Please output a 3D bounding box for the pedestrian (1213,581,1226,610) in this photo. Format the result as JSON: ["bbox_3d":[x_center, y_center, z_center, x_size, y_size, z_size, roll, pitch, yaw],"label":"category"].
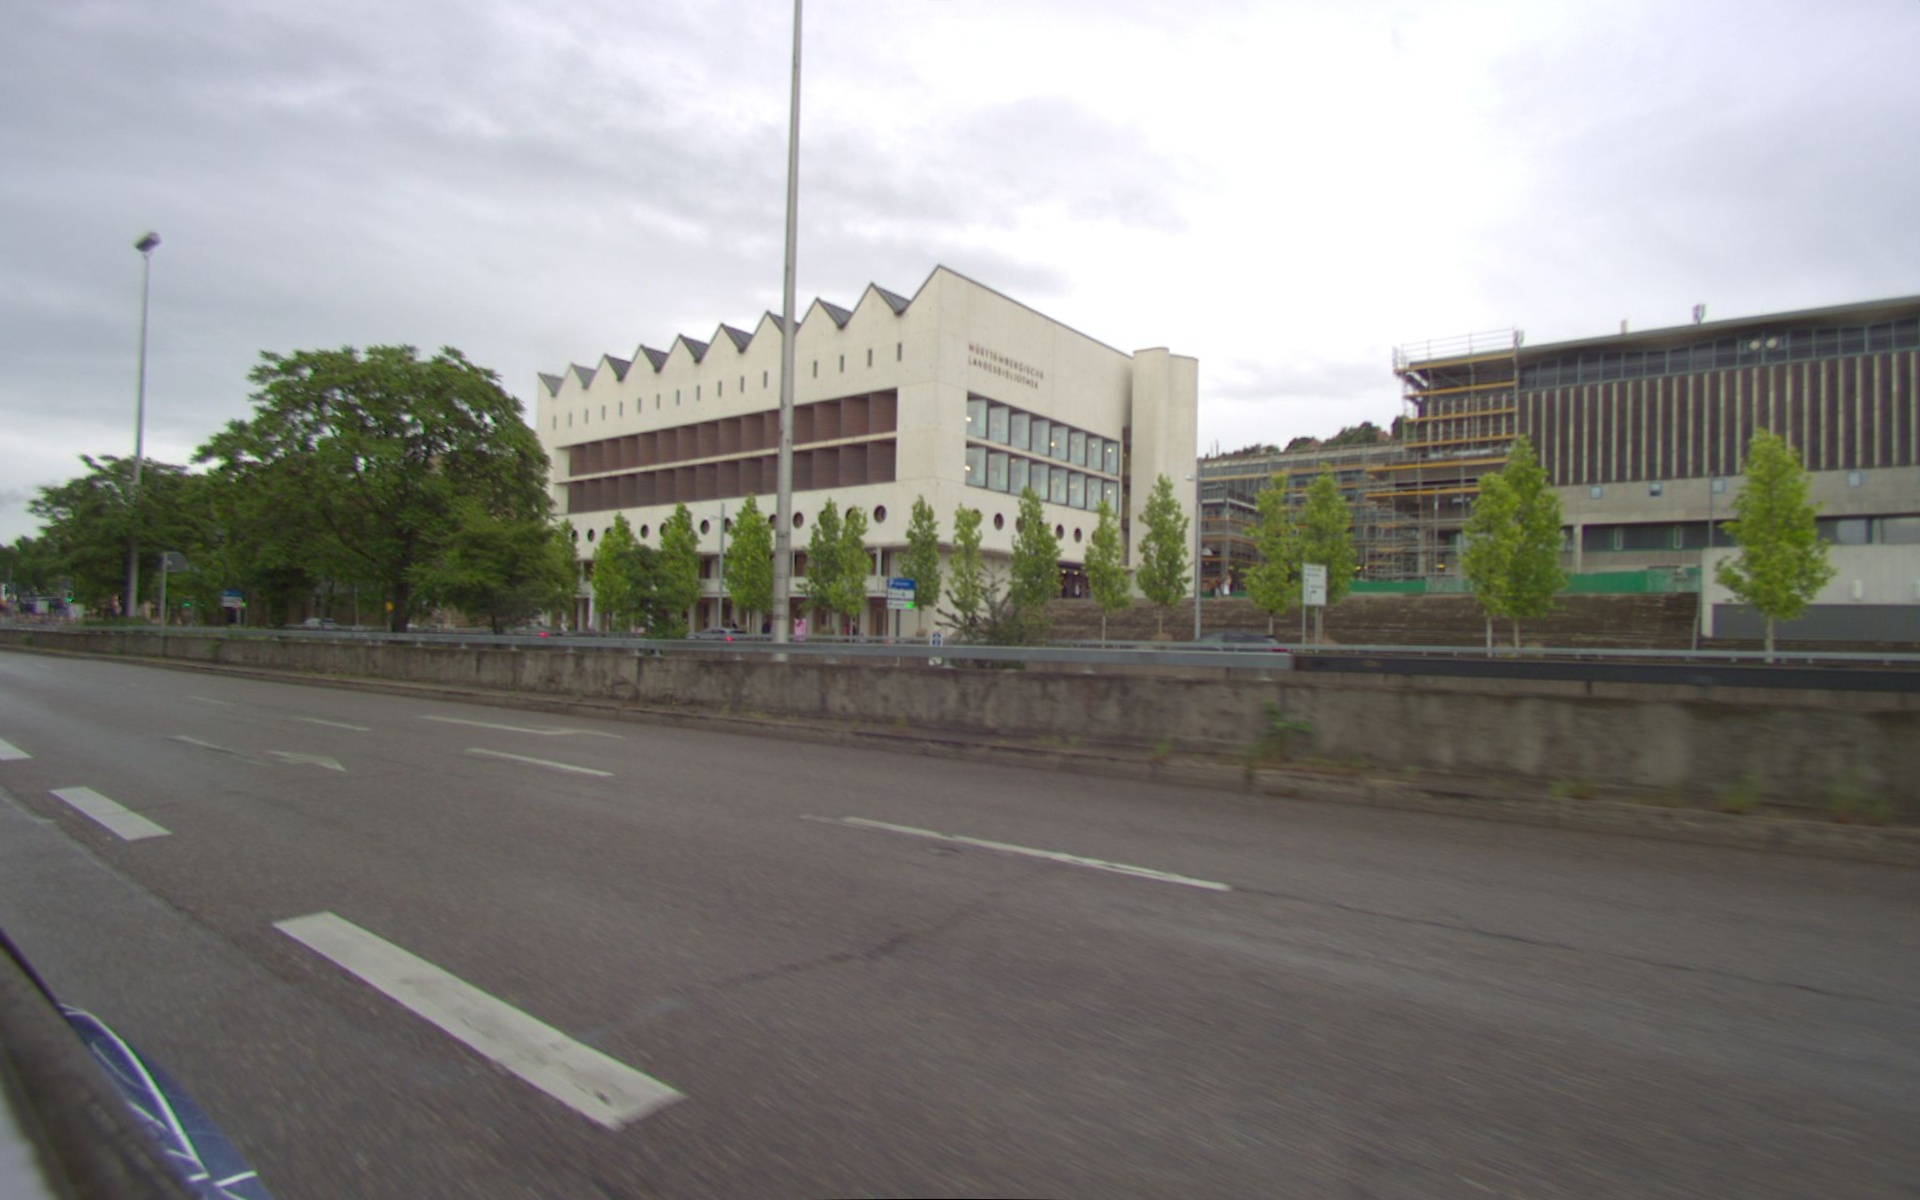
[{"bbox_3d":[18.860,-0.325,73.528,0.629,2.029,0.608,1,-1,-35],"label":"pedestrian"}]

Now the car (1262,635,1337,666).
[{"bbox_3d":[11.251,1.663,33.573,2.194,0.984,0.962,-1,-2,38],"label":"car"}]

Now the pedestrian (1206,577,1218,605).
[{"bbox_3d":[18.419,-0.627,73.976,0.630,2.029,0.607,1,-1,-43],"label":"pedestrian"}]

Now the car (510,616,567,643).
[{"bbox_3d":[-25.632,1.776,61.568,3.470,1.567,1.678,0,-1,37],"label":"car"}]

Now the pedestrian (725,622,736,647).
[{"bbox_3d":[-17.053,2.545,75.276,0.729,1.873,0.703,1,-1,-8],"label":"pedestrian"}]

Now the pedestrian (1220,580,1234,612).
[{"bbox_3d":[17.231,-0.236,65.406,0.628,2.029,0.608,1,-1,-25],"label":"pedestrian"}]

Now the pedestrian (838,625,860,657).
[{"bbox_3d":[-6.635,2.440,60.520,0.827,1.880,1.077,0,-1,32],"label":"pedestrian"}]

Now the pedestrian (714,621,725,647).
[{"bbox_3d":[-17.863,2.518,75.078,0.729,1.873,0.703,1,-1,-8],"label":"pedestrian"}]

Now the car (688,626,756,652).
[{"bbox_3d":[-12.070,1.952,51.183,3.540,1.236,1.549,0,-1,41],"label":"car"}]

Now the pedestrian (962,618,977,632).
[{"bbox_3d":[0.657,1.657,66.824,0.628,0.894,0.798,0,-1,40],"label":"pedestrian"}]
